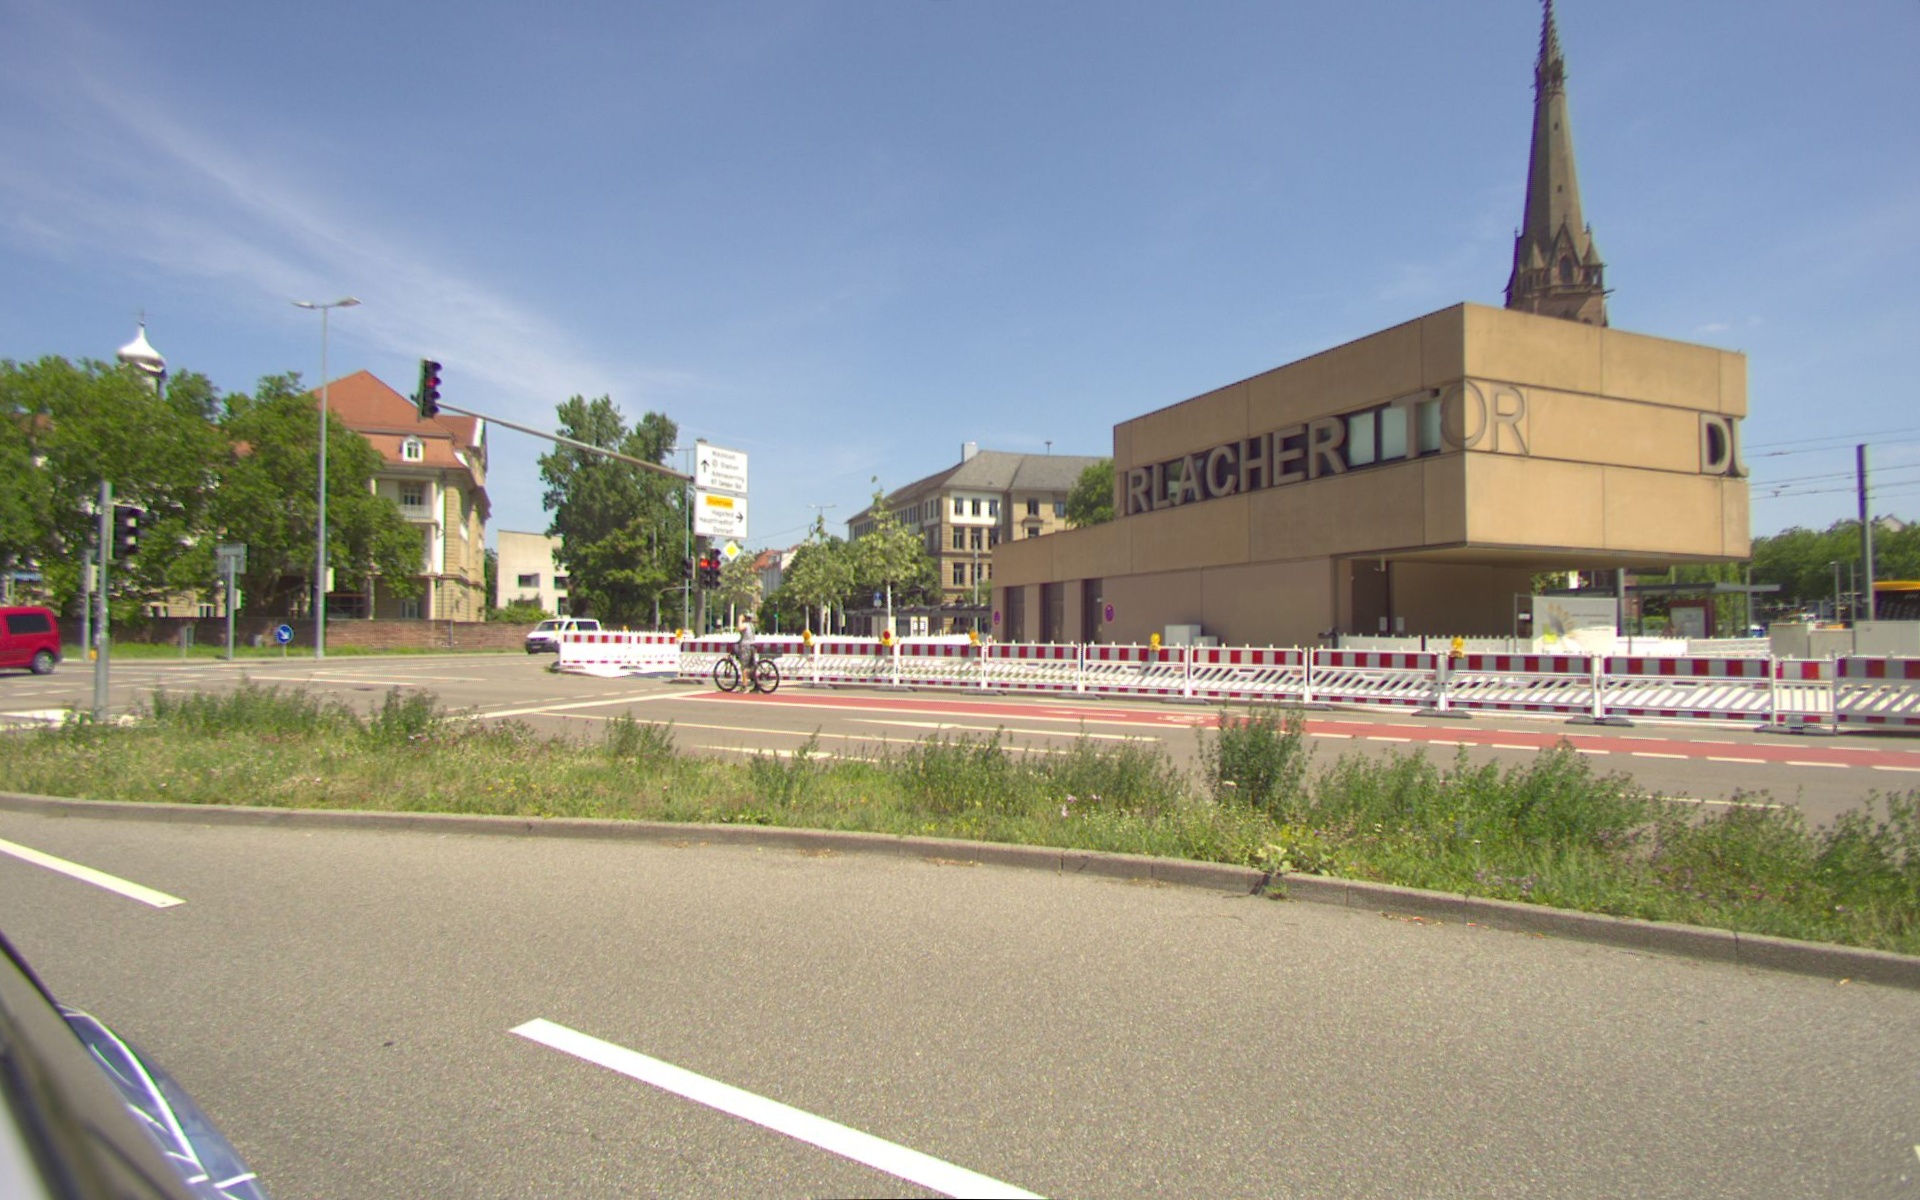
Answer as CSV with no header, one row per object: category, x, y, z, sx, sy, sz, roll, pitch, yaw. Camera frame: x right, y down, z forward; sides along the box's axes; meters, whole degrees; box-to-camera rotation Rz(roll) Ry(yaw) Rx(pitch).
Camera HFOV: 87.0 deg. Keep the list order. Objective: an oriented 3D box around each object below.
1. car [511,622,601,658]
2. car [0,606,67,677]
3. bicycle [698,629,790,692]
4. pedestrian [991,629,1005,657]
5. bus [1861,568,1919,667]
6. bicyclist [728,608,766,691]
car,-21.155,2.075,53.237,1.913,1.808,5.012,-1,-2,12
car,-25.164,1.059,25.356,1.809,1.780,4.277,-2,-3,1
bicycle,-4.258,1.168,19.908,1.890,1.189,0.519,0,-2,30
pedestrian,2.358,2.683,63.060,0.531,1.769,0.661,0,-3,-33
bus,33.319,0.437,27.817,3.674,3.064,12.293,1,-2,-23
bicyclist,-4.174,0.963,19.856,0.496,1.591,0.526,-1,-2,29
